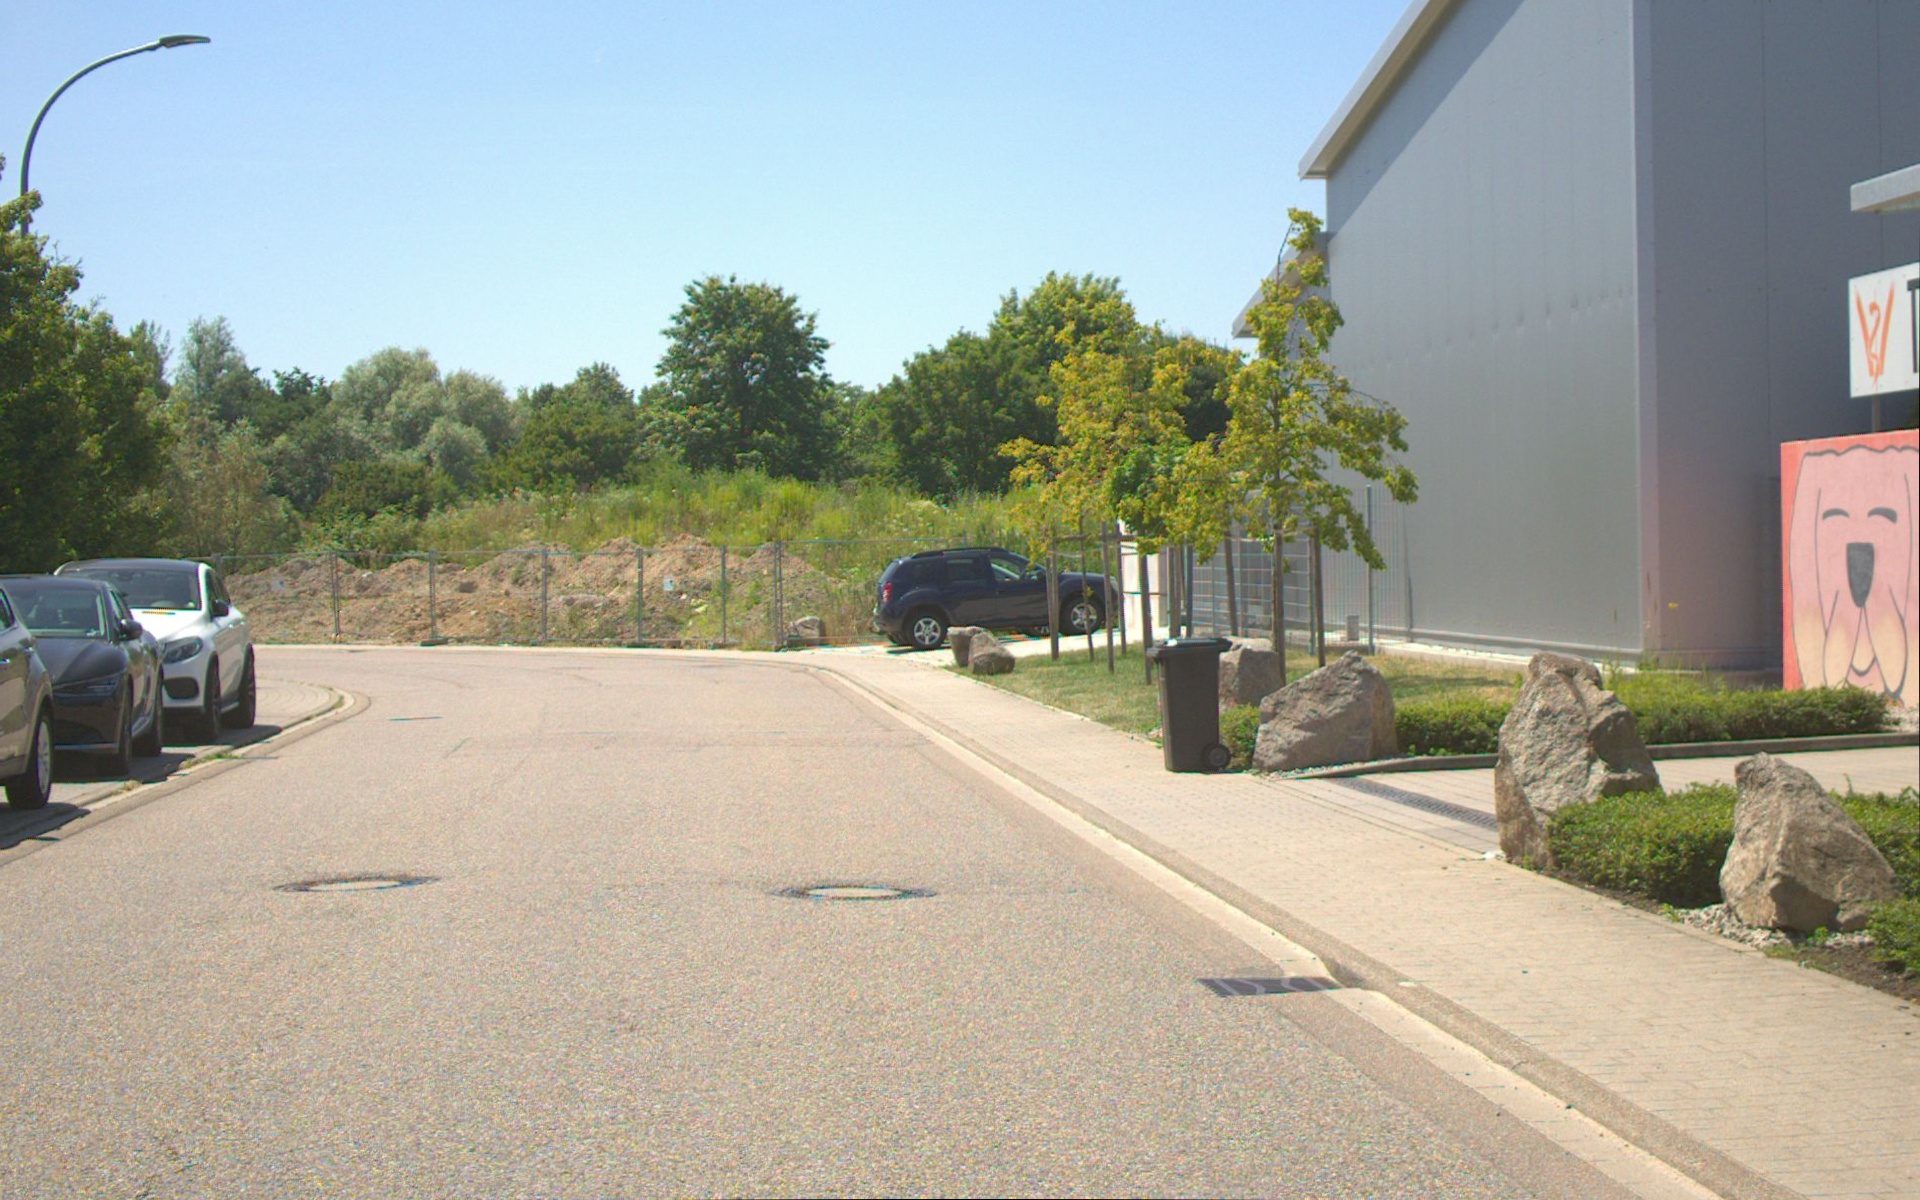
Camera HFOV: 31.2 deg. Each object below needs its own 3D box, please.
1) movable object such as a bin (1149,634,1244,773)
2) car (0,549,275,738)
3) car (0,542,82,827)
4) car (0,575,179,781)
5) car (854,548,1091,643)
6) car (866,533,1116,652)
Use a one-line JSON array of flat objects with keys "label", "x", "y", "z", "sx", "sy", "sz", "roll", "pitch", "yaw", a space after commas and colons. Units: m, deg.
[{"label": "movable object such as a bin", "x": 1.671, "y": 0.728, "z": 24.316, "sx": 0.558, "sy": 0.943, "sz": 0.539, "roll": -2, "pitch": 1, "yaw": -6}, {"label": "car", "x": -7.922, "y": 0.360, "z": 33.452, "sx": 1.912, "sy": 1.650, "sz": 4.755, "roll": -2, "pitch": 1, "yaw": -5}, {"label": "car", "x": -6.772, "y": 0.492, "z": 21.241, "sx": 1.912, "sy": 1.707, "sz": 4.414, "roll": 1, "pitch": 1, "yaw": -5}, {"label": "car", "x": -7.507, "y": 0.569, "z": 27.827, "sx": 1.912, "sy": 1.486, "sz": 4.414, "roll": 0, "pitch": 1, "yaw": -8}, {"label": "car", "x": 0.204, "y": -0.092, "z": 61.819, "sx": 4.009, "sy": 1.457, "sz": 1.893, "roll": -3, "pitch": 1, "yaw": -6}, {"label": "car", "x": 0.505, "y": -0.145, "z": 59.161, "sx": 4.009, "sy": 1.649, "sz": 1.858, "roll": -5, "pitch": 1, "yaw": -5}]
